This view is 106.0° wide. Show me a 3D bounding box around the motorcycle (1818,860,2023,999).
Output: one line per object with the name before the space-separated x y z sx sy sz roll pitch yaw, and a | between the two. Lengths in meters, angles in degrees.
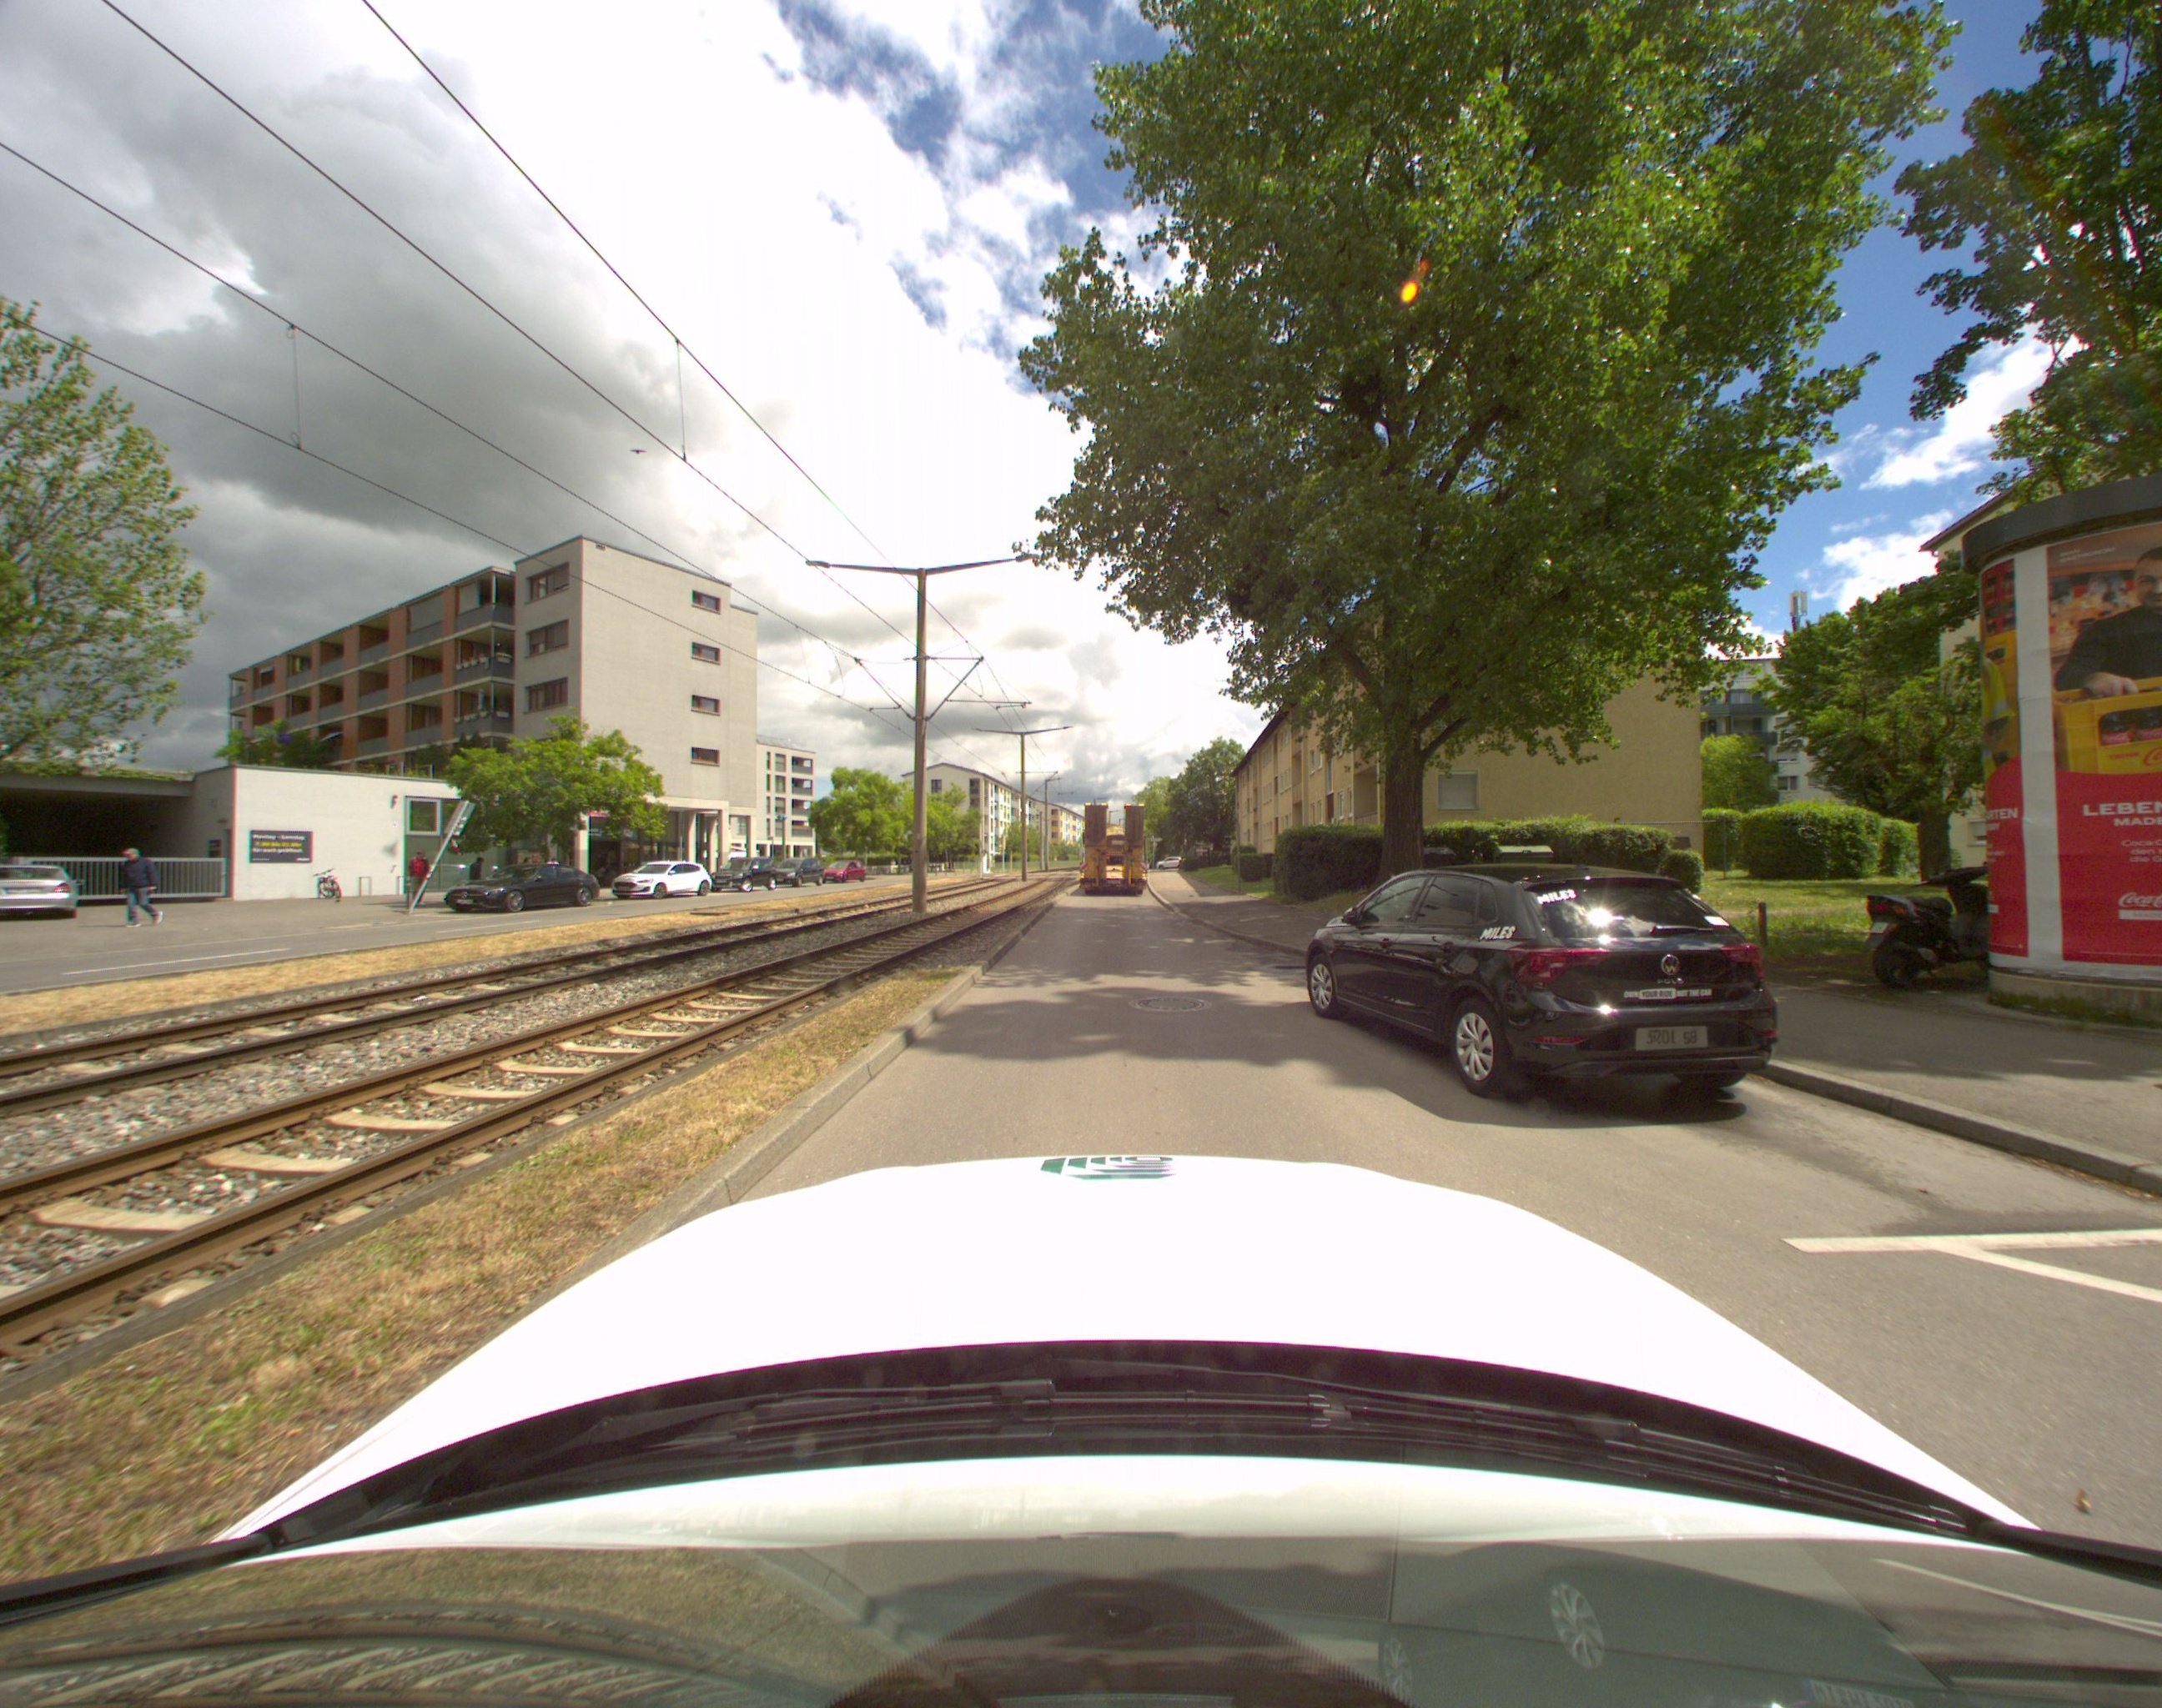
motorcycle | 8.357 0.703 8.111 1.800 1.210 0.708 -2 0 -19

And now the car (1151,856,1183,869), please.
car | 10.638 1.057 101.005 3.570 1.584 2.008 -2 -1 16

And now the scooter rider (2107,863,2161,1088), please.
scooter rider | 6.343 0.669 4.048 0.882 1.220 1.282 -2 1 1

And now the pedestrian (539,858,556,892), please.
pedestrian | -23.406 0.898 35.740 0.499 1.460 0.556 -2 0 -23

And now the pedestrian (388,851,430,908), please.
pedestrian | -21.939 0.825 26.603 0.608 1.792 0.844 -2 0 3

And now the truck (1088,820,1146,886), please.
truck | 1.995 -0.098 45.688 2.823 3.330 7.989 -2 0 2

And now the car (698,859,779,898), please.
car | -16.210 1.108 38.749 1.986 1.662 4.102 0 1 2

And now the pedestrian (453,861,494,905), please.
pedestrian | -21.804 1.026 29.244 0.596 1.534 0.977 -2 0 16

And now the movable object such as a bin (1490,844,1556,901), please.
movable object such as a bin | 11.716 0.474 21.646 1.164 1.439 1.058 -2 0 2

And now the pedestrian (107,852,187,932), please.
pedestrian | -21.595 0.856 18.857 0.843 1.792 0.868 -2 0 -19

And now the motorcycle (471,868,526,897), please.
motorcycle | -25.943 1.258 36.301 1.885 1.178 0.742 -2 0 1

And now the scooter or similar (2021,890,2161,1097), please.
scooter or similar | 6.346 0.793 4.072 0.886 1.064 2.115 -2 1 2

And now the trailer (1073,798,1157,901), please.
trailer | 1.505 -0.213 36.316 3.039 3.772 11.619 -2 1 2

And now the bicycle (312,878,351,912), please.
bicycle | -28.658 1.547 31.148 1.948 1.212 0.673 -1 0 35

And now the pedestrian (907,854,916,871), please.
pedestrian | -15.870 0.789 76.260 0.618 1.573 0.560 -2 0 15

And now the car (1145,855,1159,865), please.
car | 10.417 0.877 120.020 1.985 1.387 4.005 -2 0 4

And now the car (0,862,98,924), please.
car | -27.324 0.993 21.302 4.300 1.442 2.013 -1 1 40

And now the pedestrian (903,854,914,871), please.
pedestrian | -15.960 0.788 75.372 0.618 1.573 0.701 -2 0 15

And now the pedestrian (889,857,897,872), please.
pedestrian | -19.311 1.080 83.620 0.539 1.547 0.532 -2 0 25

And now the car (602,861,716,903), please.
car | -16.853 1.075 32.800 1.743 1.475 4.412 -2 1 10

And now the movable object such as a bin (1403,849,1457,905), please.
movable object such as a bin | 9.291 0.597 21.736 1.094 1.439 0.762 -2 0 1

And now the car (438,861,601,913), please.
car | -17.416 0.967 25.569 1.725 1.428 4.389 1 0 7

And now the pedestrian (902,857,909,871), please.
pedestrian | -16.048 0.938 74.566 0.501 1.267 0.497 -2 0 -19

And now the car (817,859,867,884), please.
car | -15.126 1.061 51.616 1.603 1.426 3.433 -2 0 11

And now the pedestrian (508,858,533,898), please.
pedestrian | -22.755 0.964 33.047 0.666 1.573 0.683 -2 0 -24

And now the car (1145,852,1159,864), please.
car | 10.048 0.526 115.419 1.985 1.618 4.005 -2 0 4

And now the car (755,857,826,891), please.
car | -15.837 1.048 44.677 1.983 1.648 4.108 -2 0 7

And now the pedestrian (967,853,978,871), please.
pedestrian | -10.716 0.797 80.336 0.745 1.661 0.871 -2 0 8

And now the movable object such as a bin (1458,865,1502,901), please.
movable object such as a bin | 10.646 0.763 21.734 0.799 0.915 0.762 -2 0 2

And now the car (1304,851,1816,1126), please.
car | 3.196 0.743 6.450 1.809 1.448 3.826 -2 0 0
